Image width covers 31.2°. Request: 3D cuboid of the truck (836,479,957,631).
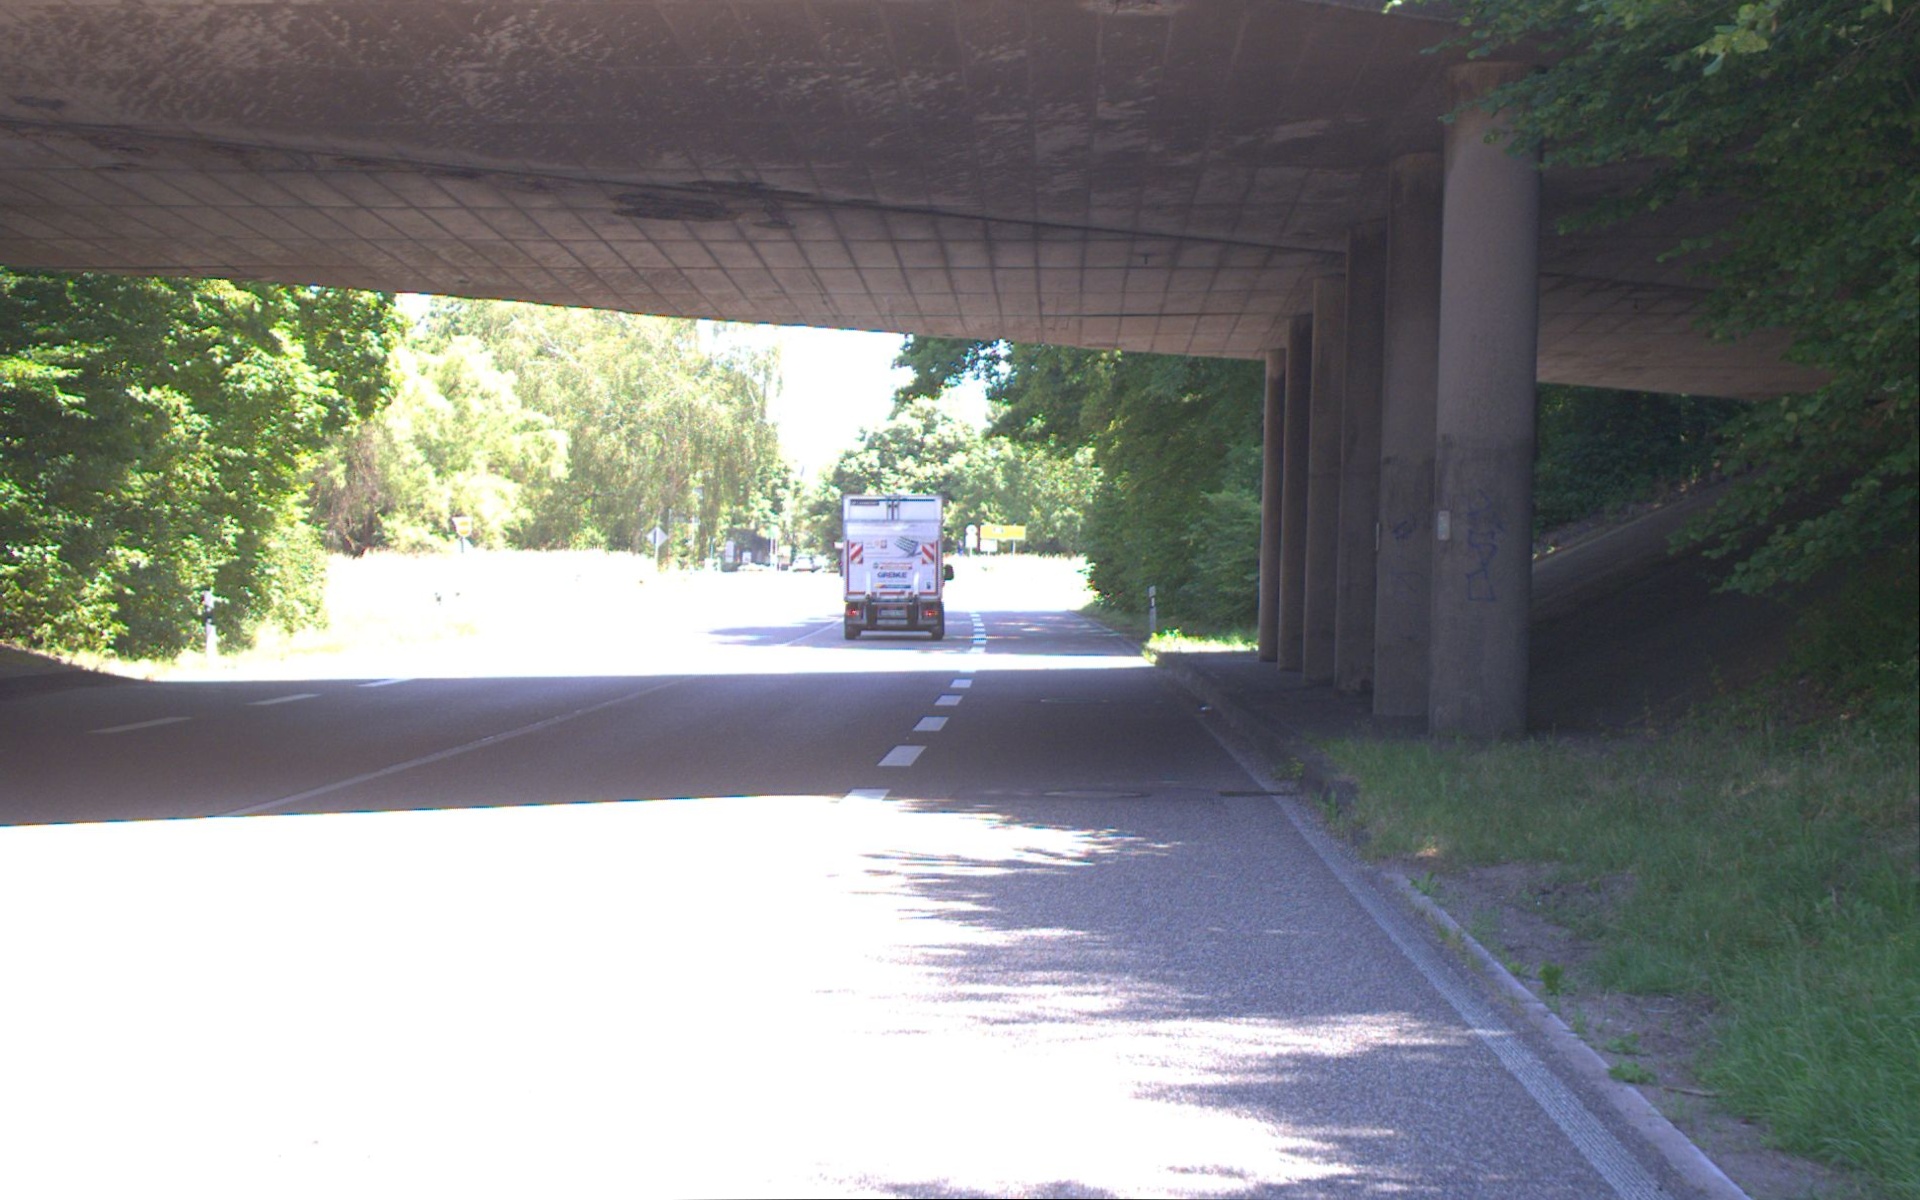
[{"bbox_3d":[-1.283,-0.908,71.908,2.240,2.974,5.894,2,0,1],"label":"truck"}]
